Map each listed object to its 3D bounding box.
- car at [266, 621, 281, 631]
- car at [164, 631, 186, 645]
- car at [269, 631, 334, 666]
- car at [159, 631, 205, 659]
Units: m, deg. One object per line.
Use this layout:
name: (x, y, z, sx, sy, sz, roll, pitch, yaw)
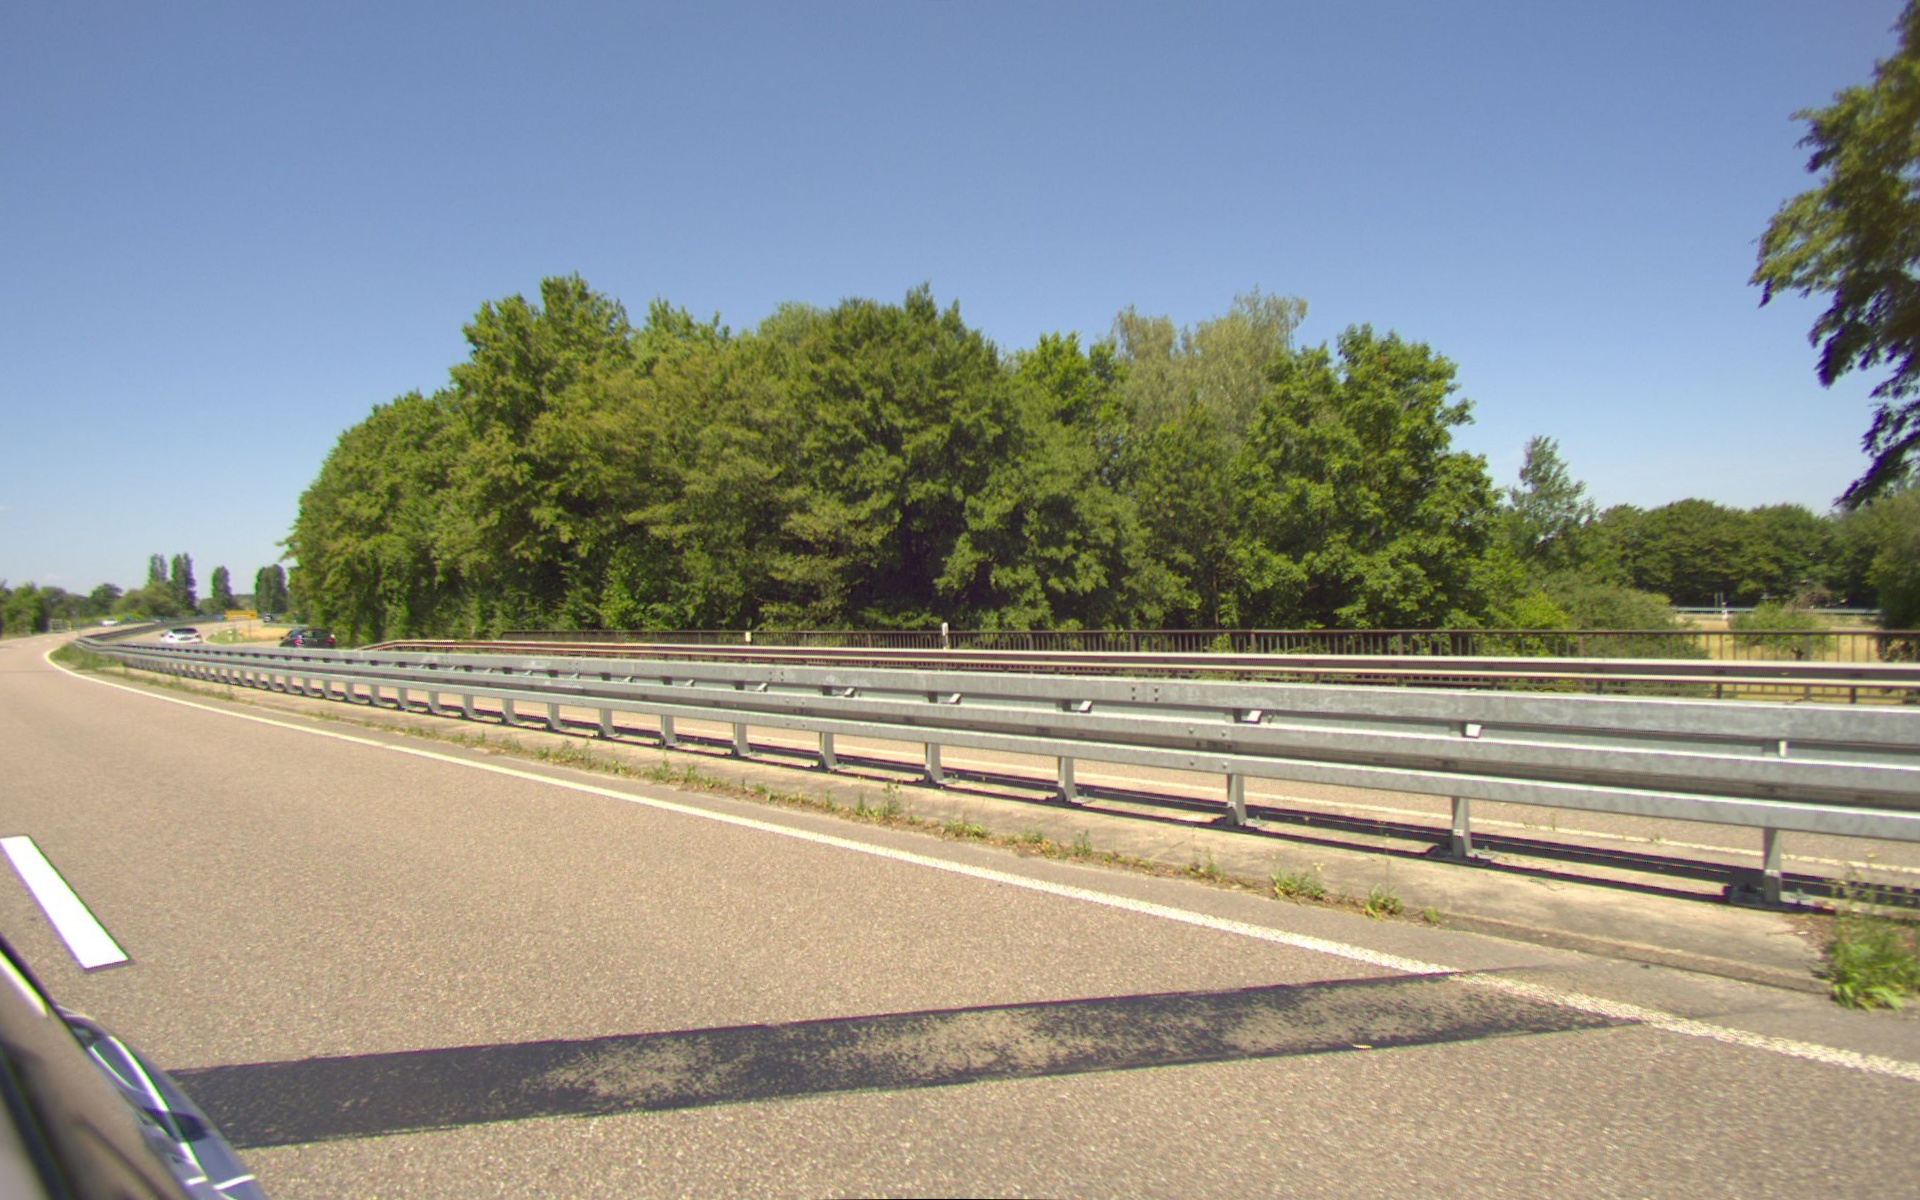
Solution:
car: (-144.591, 5.490, 213.213, 1.966, 2.028, 4.013, -3, 1, -27)
car: (-81.196, 3.930, 104.631, 1.630, 1.458, 4.226, 1, -2, -40)
car: (-30.933, 2.250, 47.485, 3.998, 1.540, 1.633, -2, -2, 43)
car: (-46.907, 2.673, 60.976, 4.221, 1.619, 1.632, -2, -2, 45)
